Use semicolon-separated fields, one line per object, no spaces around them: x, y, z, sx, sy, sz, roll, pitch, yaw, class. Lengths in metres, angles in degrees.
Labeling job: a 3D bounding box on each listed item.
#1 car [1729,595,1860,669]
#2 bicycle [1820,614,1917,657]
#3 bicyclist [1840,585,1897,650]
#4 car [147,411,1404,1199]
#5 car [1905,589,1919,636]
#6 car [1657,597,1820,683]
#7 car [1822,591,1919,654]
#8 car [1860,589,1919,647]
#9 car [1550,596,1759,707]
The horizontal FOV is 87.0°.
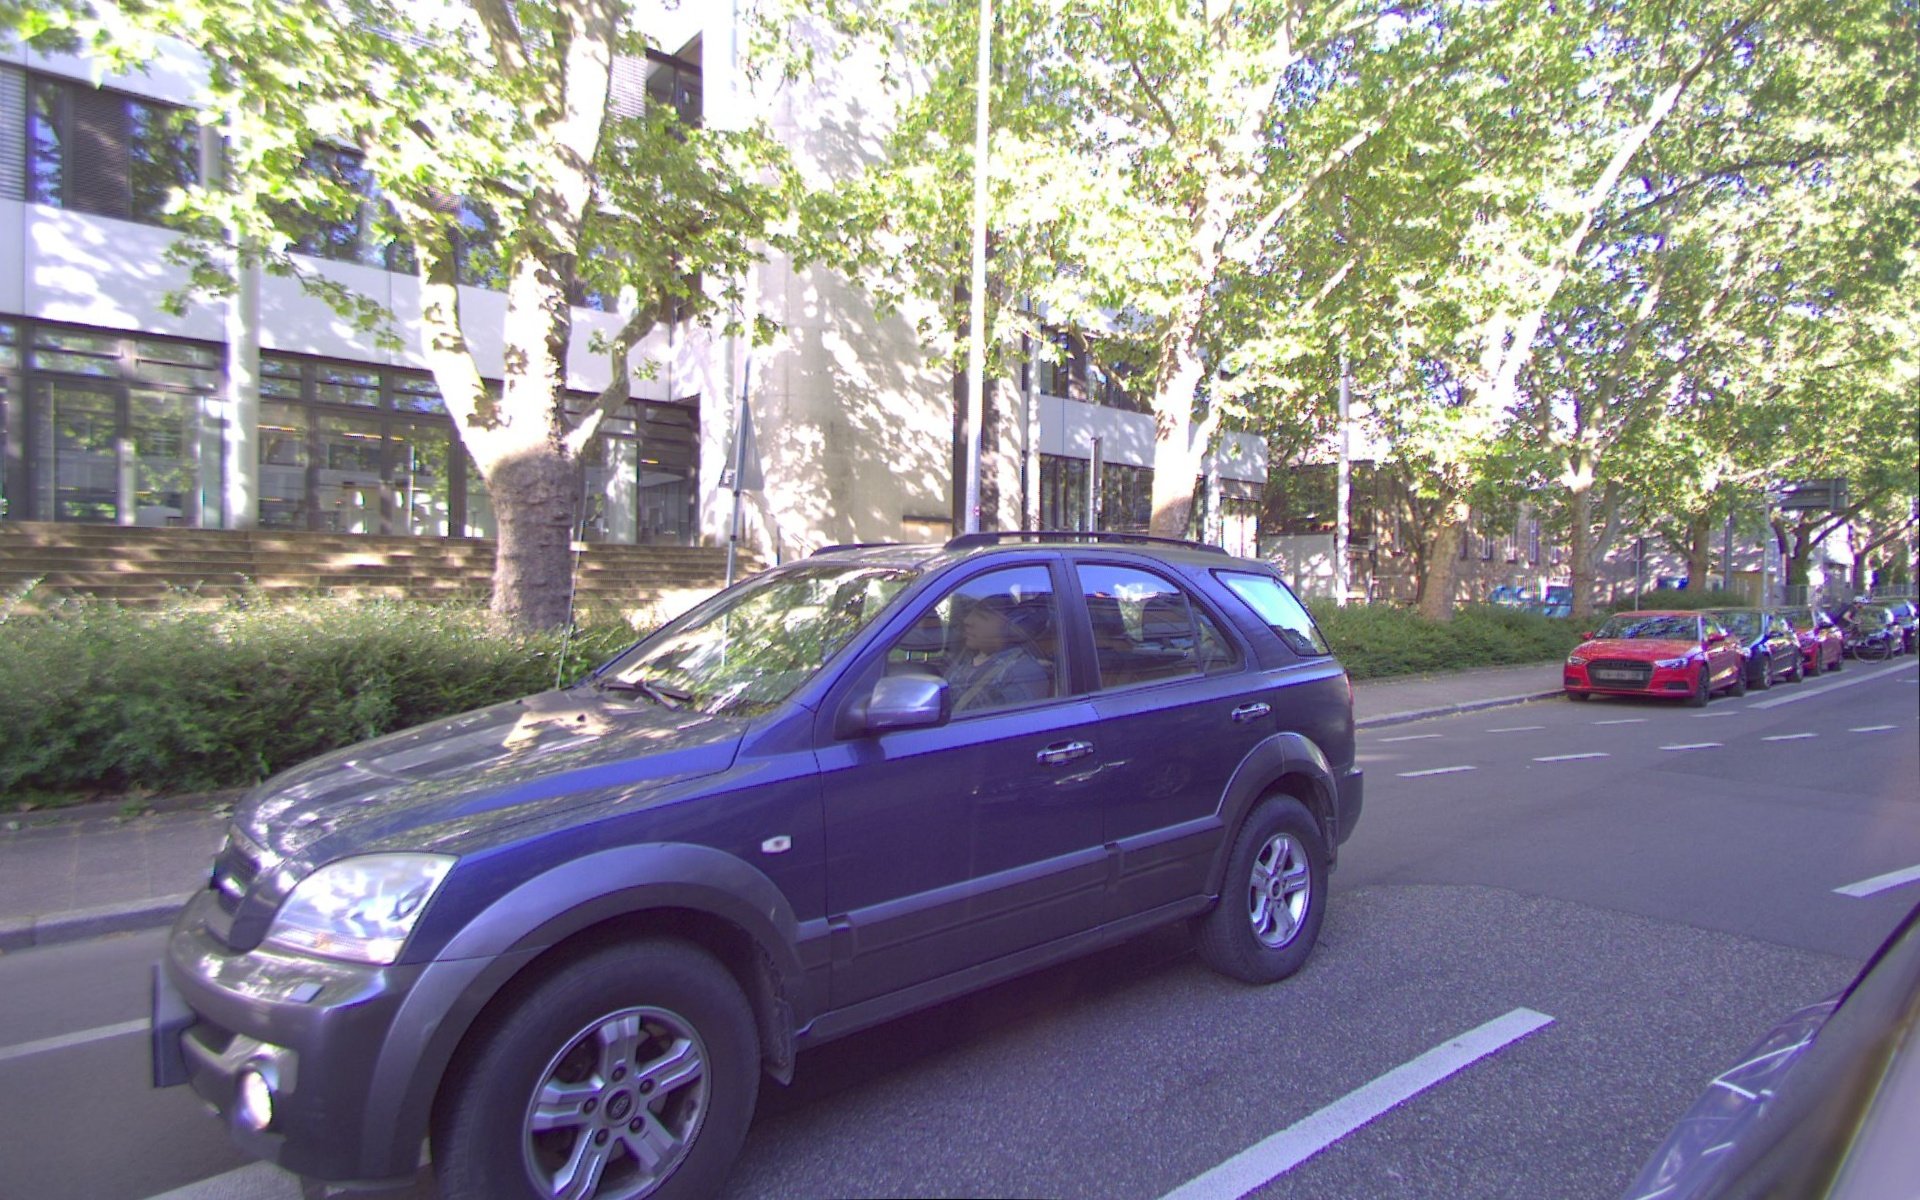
18.650;0.666;22.570;3.851;1.511;1.679;0;-1;-42;car
23.160;0.893;25.851;1.790;1.027;0.724;0;0;38;bicycle
23.186;0.434;25.847;1.032;1.640;0.688;0;0;39;bicyclist
-0.266;0.582;3.783;4.306;1.793;1.784;0;-1;-40;car
38.776;0.490;40.024;3.829;1.818;1.739;0;1;-42;car
14.948;0.706;19.361;4.022;1.472;1.739;0;-1;-42;car
25.968;0.585;28.761;4.022;1.653;1.739;0;1;-42;car
29.742;0.523;31.885;3.840;1.708;1.633;0;1;-42;car
11.196;0.733;16.223;4.071;1.548;1.827;0;-1;-42;car
